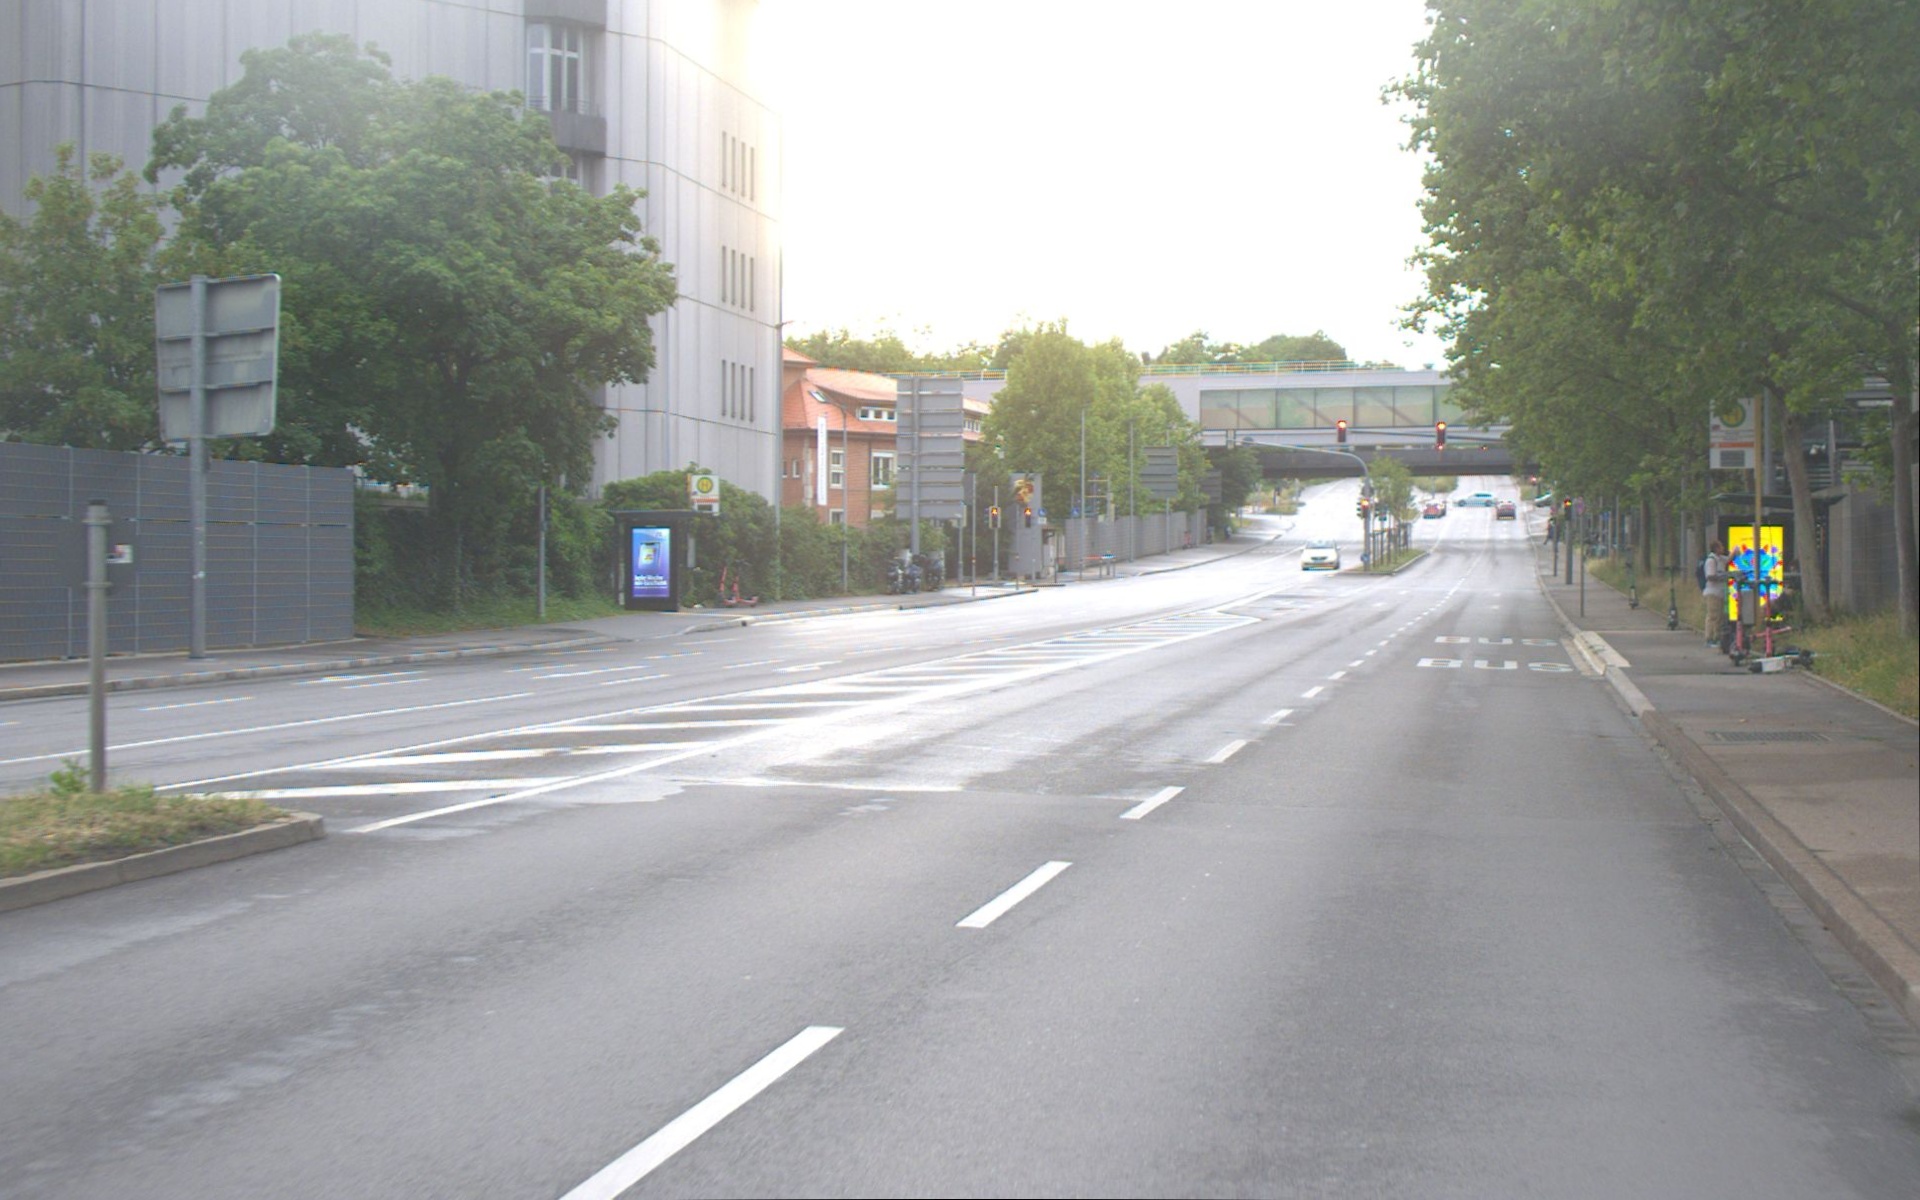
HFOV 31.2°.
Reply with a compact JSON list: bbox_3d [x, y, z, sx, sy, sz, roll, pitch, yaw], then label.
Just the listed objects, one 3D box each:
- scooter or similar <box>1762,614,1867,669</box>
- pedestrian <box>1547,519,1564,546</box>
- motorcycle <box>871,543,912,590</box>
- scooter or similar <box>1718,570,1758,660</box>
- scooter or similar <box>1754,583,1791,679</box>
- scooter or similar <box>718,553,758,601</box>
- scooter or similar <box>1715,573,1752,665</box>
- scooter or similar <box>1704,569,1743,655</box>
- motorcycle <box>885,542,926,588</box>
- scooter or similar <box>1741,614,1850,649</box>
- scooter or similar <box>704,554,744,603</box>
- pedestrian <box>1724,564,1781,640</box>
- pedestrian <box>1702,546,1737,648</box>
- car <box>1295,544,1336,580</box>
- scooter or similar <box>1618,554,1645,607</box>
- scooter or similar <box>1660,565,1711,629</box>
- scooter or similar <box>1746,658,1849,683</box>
[{"bbox_3d":[11.865,0.569,47.763,0.652,0.711,1.525,-1,1,-22],"label":"scooter or similar"},{"bbox_3d":[43.259,-4.891,249.672,1.058,2.007,1.149,0,1,20],"label":"pedestrian"},{"bbox_3d":[-2.281,-1.131,114.621,0.914,1.527,3.299,0,1,7],"label":"motorcycle"},{"bbox_3d":[11.450,0.212,50.624,0.475,1.288,1.433,0,1,9],"label":"scooter or similar"},{"bbox_3d":[10.643,0.401,45.027,0.389,1.222,1.073,0,1,9],"label":"scooter or similar"},{"bbox_3d":[-5.916,-0.625,91.543,0.498,1.248,1.920,0,1,14],"label":"scooter or similar"},{"bbox_3d":[10.874,0.264,48.375,0.434,1.266,1.193,0,1,9],"label":"scooter or similar"},{"bbox_3d":[11.751,0.172,52.927,0.503,1.288,1.433,0,1,9],"label":"scooter or similar"},{"bbox_3d":[-1.870,-1.221,118.599,0.959,1.550,3.299,0,1,7],"label":"motorcycle"},{"bbox_3d":[13.106,0.485,53.914,1.563,0.517,0.642,0,1,26],"label":"scooter or similar"},{"bbox_3d":[-6.142,-0.572,89.557,0.525,1.248,1.798,0,1,14],"label":"scooter or similar"},{"bbox_3d":[13.854,0.023,60.090,0.951,1.312,0.685,0,1,16],"label":"pedestrian"},{"bbox_3d":[12.450,-0.056,56.362,0.481,1.661,0.662,0,1,7],"label":"pedestrian"},{"bbox_3d":[17.818,-1.915,172.353,1.994,1.766,3.999,0,1,6],"label":"car"},{"bbox_3d":[17.660,-0.523,90.355,0.609,1.361,1.920,0,1,14],"label":"scooter or similar"},{"bbox_3d":[14.362,-0.063,68.029,0.699,1.240,1.919,0,1,21],"label":"scooter or similar"},{"bbox_3d":[10.618,0.892,43.626,0.652,0.245,1.525,-1,1,-13],"label":"scooter or similar"}]
